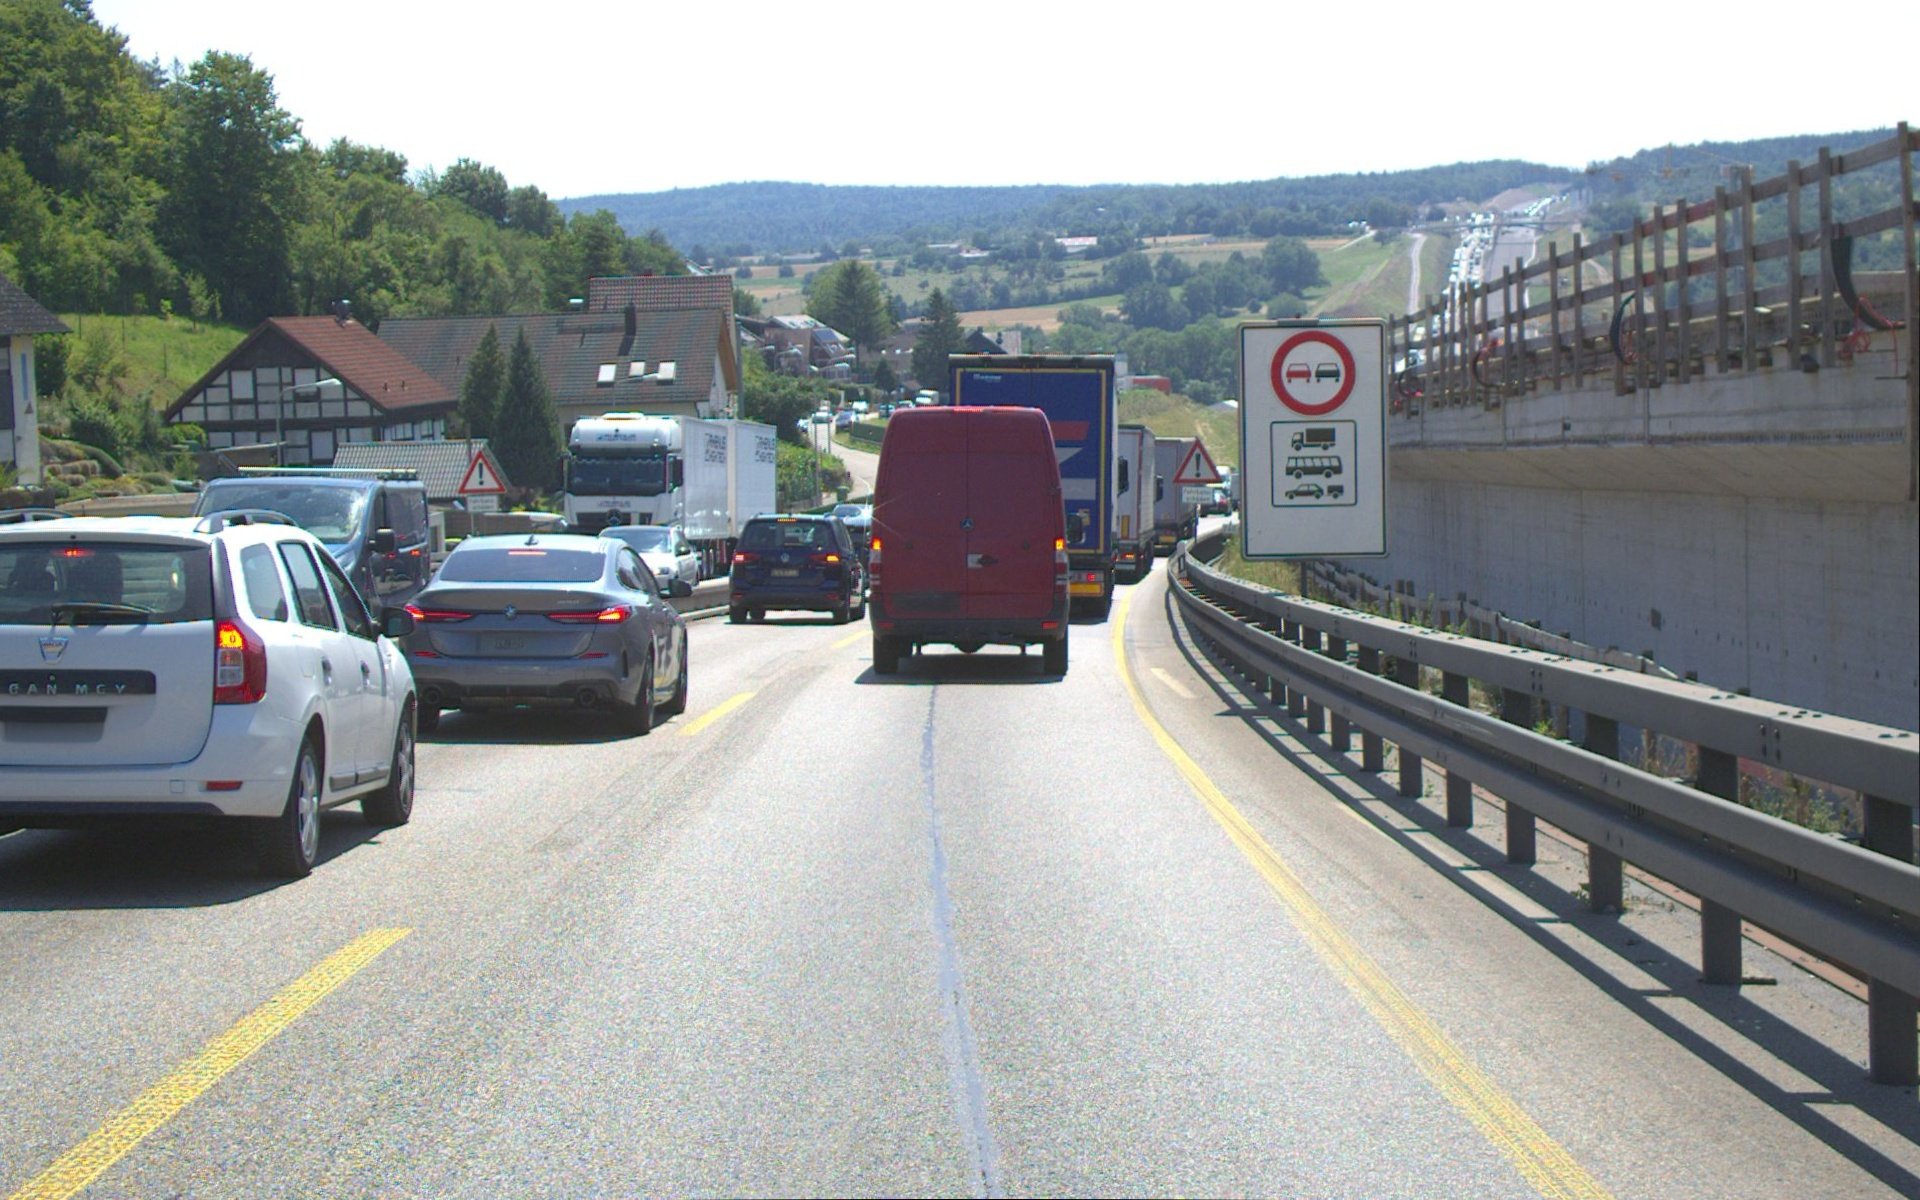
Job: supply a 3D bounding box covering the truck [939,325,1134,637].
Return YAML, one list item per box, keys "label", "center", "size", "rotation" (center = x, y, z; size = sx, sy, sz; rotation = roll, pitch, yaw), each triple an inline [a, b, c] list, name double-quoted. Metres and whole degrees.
- label: "truck"
  center: [1.426, -1.866, 57.752]
  size: [2.786, 4.799, 9.683]
  rotation: [0, 0, 4]

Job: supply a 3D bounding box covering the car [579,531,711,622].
- label: "car"
  center: [-5.369, -0.419, 59.080]
  size: [1.581, 1.516, 4.154]
  rotation: [0, 1, 5]

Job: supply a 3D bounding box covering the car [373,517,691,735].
- label: "car"
  center: [-3.077, 0.136, 25.484]
  size: [1.794, 1.480, 4.050]
  rotation: [0, 1, 1]

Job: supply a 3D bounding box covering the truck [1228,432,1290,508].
- label: "truck"
  center: [18.149, -7.819, 208.246]
  size: [3.070, 4.366, 8.554]
  rotation: [0, 0, 9]

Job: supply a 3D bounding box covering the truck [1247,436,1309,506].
- label: "truck"
  center: [21.161, -8.516, 228.383]
  size: [3.469, 4.366, 8.554]
  rotation: [0, 0, 9]

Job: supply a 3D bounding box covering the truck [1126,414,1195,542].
- label: "truck"
  center: [7.031, -4.219, 120.321]
  size: [1.994, 4.366, 3.998]
  rotation: [0, 0, 9]

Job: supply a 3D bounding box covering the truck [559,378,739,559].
- label: "truck"
  center: [-7.481, -3.171, 84.111]
  size: [2.978, 4.148, 10.545]
  rotation: [0, 2, 3]

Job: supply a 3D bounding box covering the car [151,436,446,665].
- label: "car"
  center: [-6.633, -0.490, 35.015]
  size: [1.993, 2.165, 4.832]
  rotation: [0, 0, 1]

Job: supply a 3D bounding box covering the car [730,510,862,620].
- label: "car"
  center: [-2.456, -0.525, 52.187]
  size: [1.810, 1.602, 3.719]
  rotation: [0, 0, 0]

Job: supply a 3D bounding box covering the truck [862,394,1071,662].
- label: "truck"
  center: [0.126, -0.705, 35.005]
  size: [1.993, 2.570, 4.000]
  rotation: [0, 0, 2]

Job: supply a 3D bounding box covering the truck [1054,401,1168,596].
- label: "truck"
  center: [3.982, -2.529, 89.359]
  size: [2.786, 4.799, 9.684]
  rotation: [0, 0, 3]

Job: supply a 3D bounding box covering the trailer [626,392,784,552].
- label: "trailer"
  center: [-6.866, -3.444, 93.903]
  size: [3.004, 4.151, 9.016]
  rotation: [0, 1, 4]

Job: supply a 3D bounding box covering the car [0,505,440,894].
- label: "car"
  center: [-3.529, 0.372, 15.490]
  size: [1.651, 1.478, 4.266]
  rotation: [-2, 1, 0]

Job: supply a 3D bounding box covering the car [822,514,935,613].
- label: "car"
  center: [-1.534, -0.698, 65.842]
  size: [1.729, 1.832, 3.999]
  rotation: [0, 0, 5]
